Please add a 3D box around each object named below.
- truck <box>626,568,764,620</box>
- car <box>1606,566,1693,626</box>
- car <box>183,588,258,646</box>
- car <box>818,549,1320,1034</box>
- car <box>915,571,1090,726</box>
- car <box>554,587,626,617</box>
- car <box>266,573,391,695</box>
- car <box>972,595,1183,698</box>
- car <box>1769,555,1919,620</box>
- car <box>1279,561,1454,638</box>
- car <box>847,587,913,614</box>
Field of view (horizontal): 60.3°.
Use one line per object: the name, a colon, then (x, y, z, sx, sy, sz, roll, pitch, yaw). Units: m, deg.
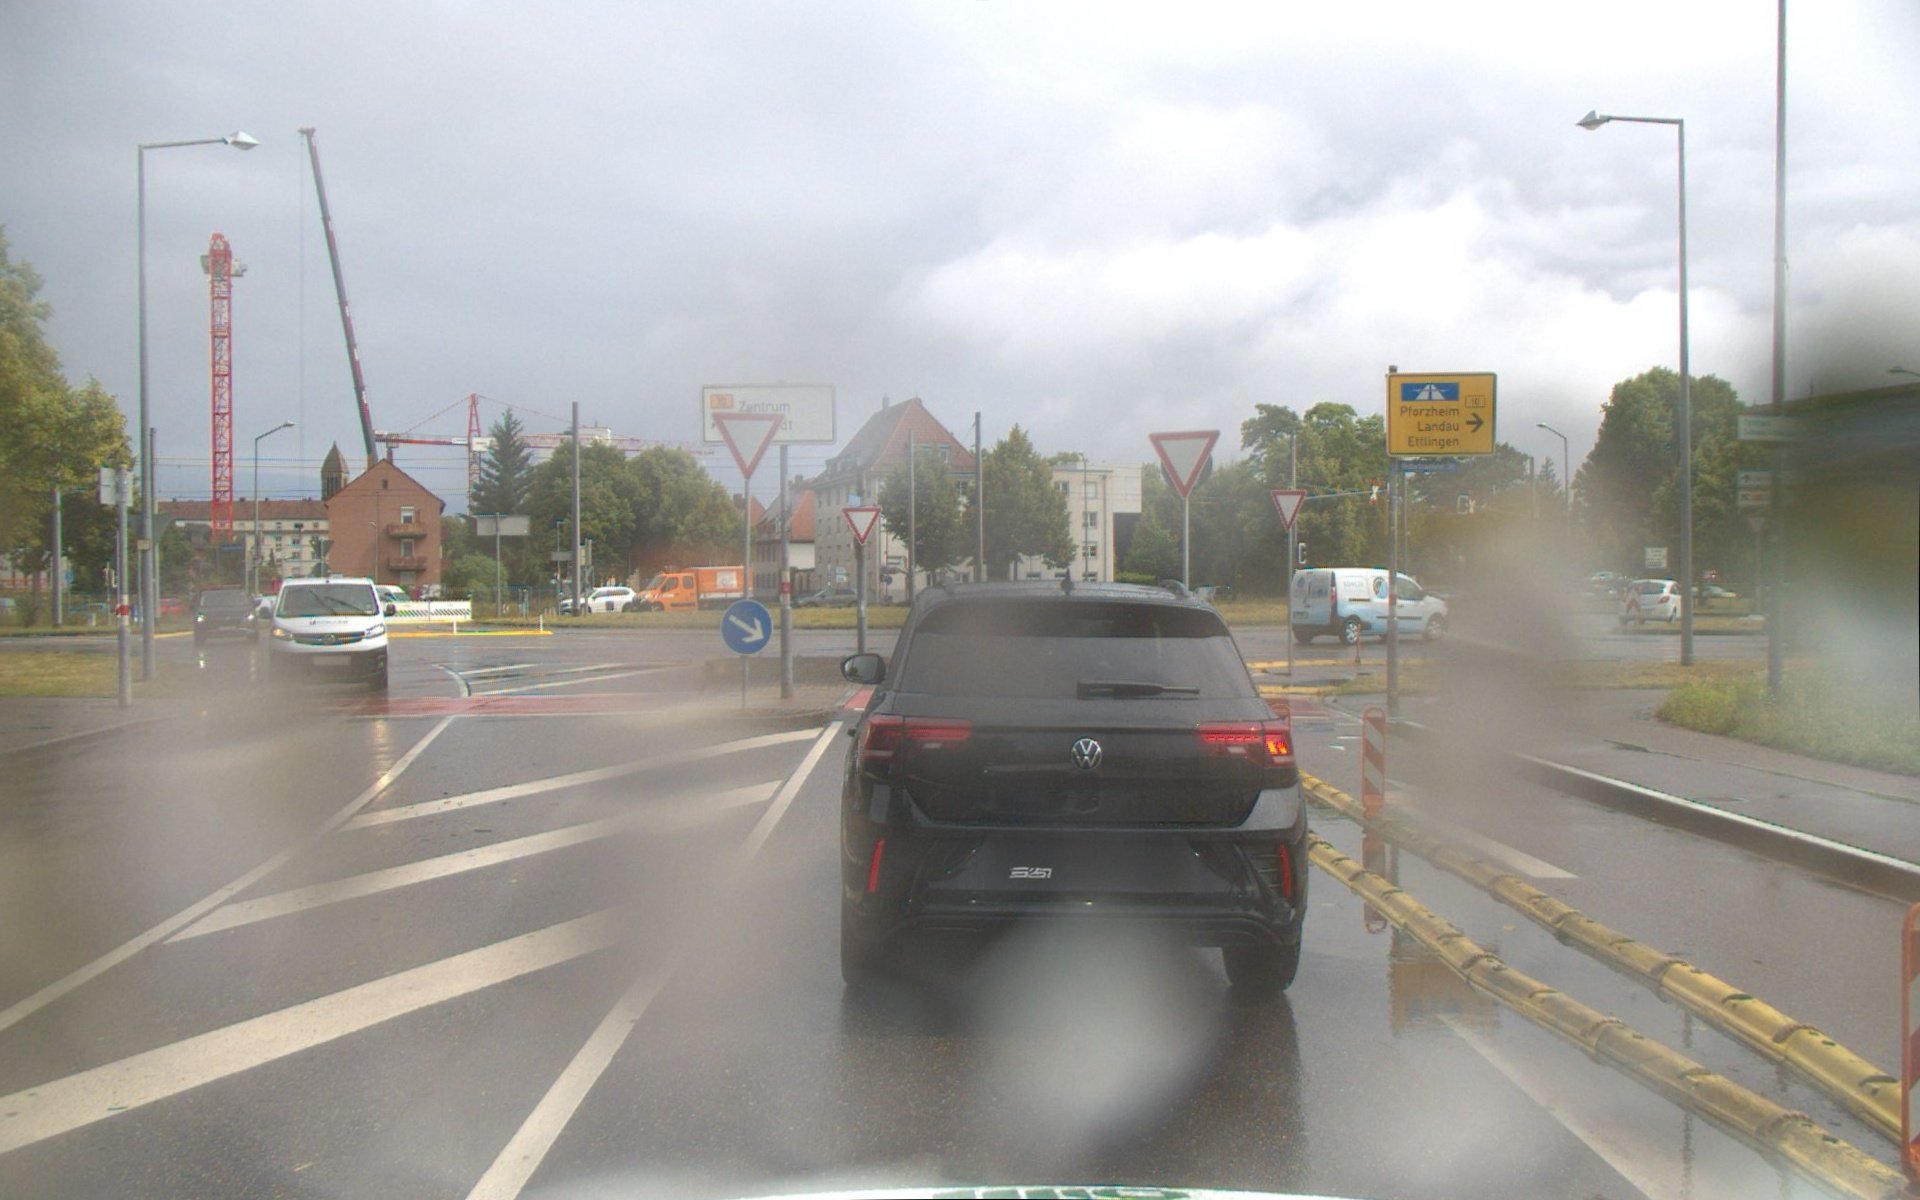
truck: (-14.138, -0.363, 88.483, 7.006, 2.696, 2.302, 0, 0, -35)
car: (22.557, -0.132, 54.032, 1.958, 1.862, 3.989, -1, 0, 33)
car: (-22.957, 0.499, 51.272, 1.716, 1.693, 4.068, -1, 0, -30)
car: (0.269, 0.635, 7.363, 1.674, 1.601, 3.680, 0, 0, -3)
car: (0.373, 0.468, 18.303, 1.700, 1.540, 3.602, 0, 0, -2)
car: (-19.869, 0.099, 88.945, 3.474, 1.612, 1.544, -1, 1, -40)
car: (-11.043, 0.529, 28.927, 1.861, 1.909, 5.099, -1, 0, -21)
car: (2.303, 0.808, 31.327, 1.961, 1.755, 4.338, 0, 0, 37)
car: (22.572, -0.318, 41.057, 4.299, 1.575, 1.870, 0, 0, 21)
car: (10.201, -0.025, 41.402, 4.350, 1.841, 1.848, 0, 0, -34)
car: (-4.781, 0.011, 98.612, 3.797, 1.612, 1.565, 0, 0, -6)
